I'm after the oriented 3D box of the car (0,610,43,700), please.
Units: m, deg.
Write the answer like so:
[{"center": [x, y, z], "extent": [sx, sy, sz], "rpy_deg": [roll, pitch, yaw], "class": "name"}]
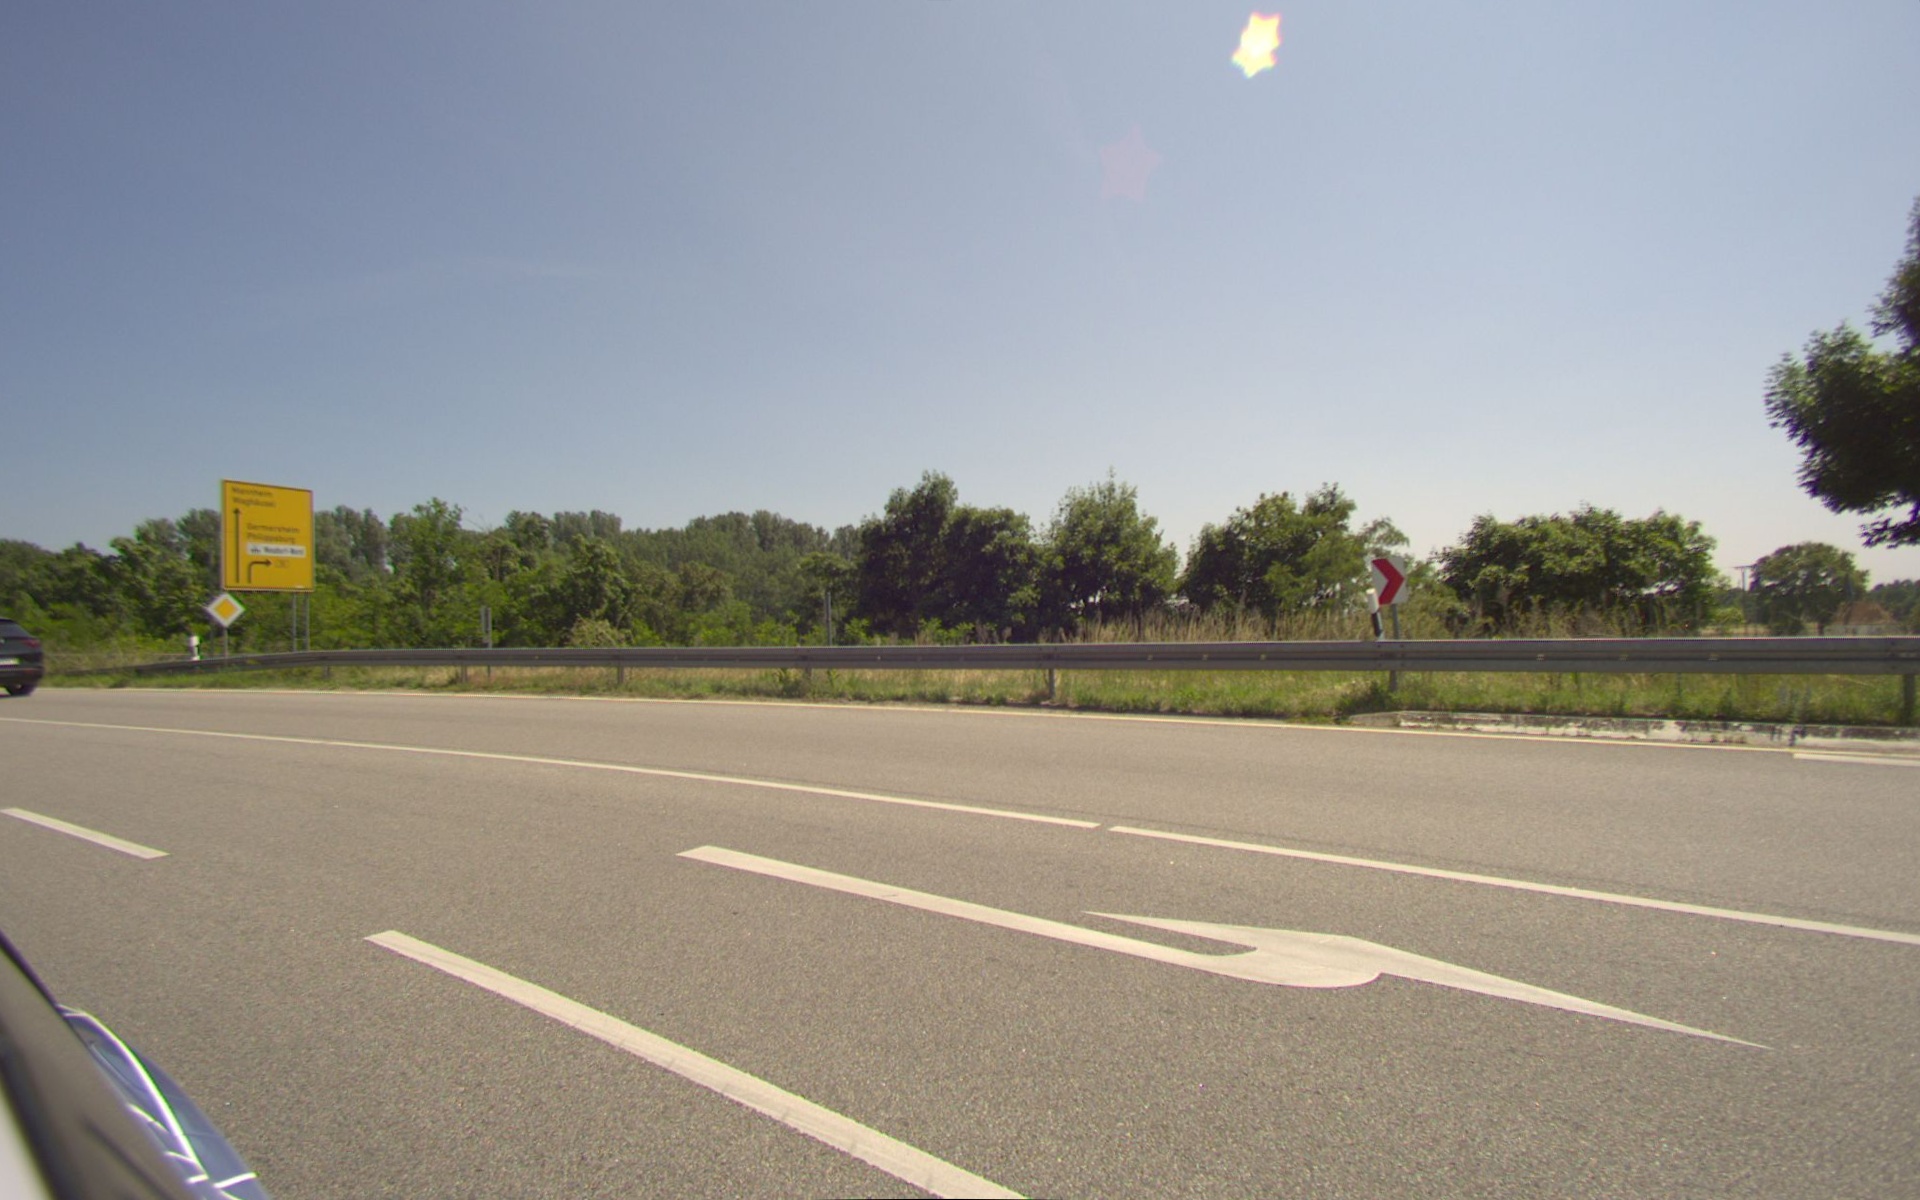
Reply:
[{"center": [-19.954, 1.101, 19.336], "extent": [4.533, 1.670, 1.706], "rpy_deg": [-2, -1, 20], "class": "car"}]
